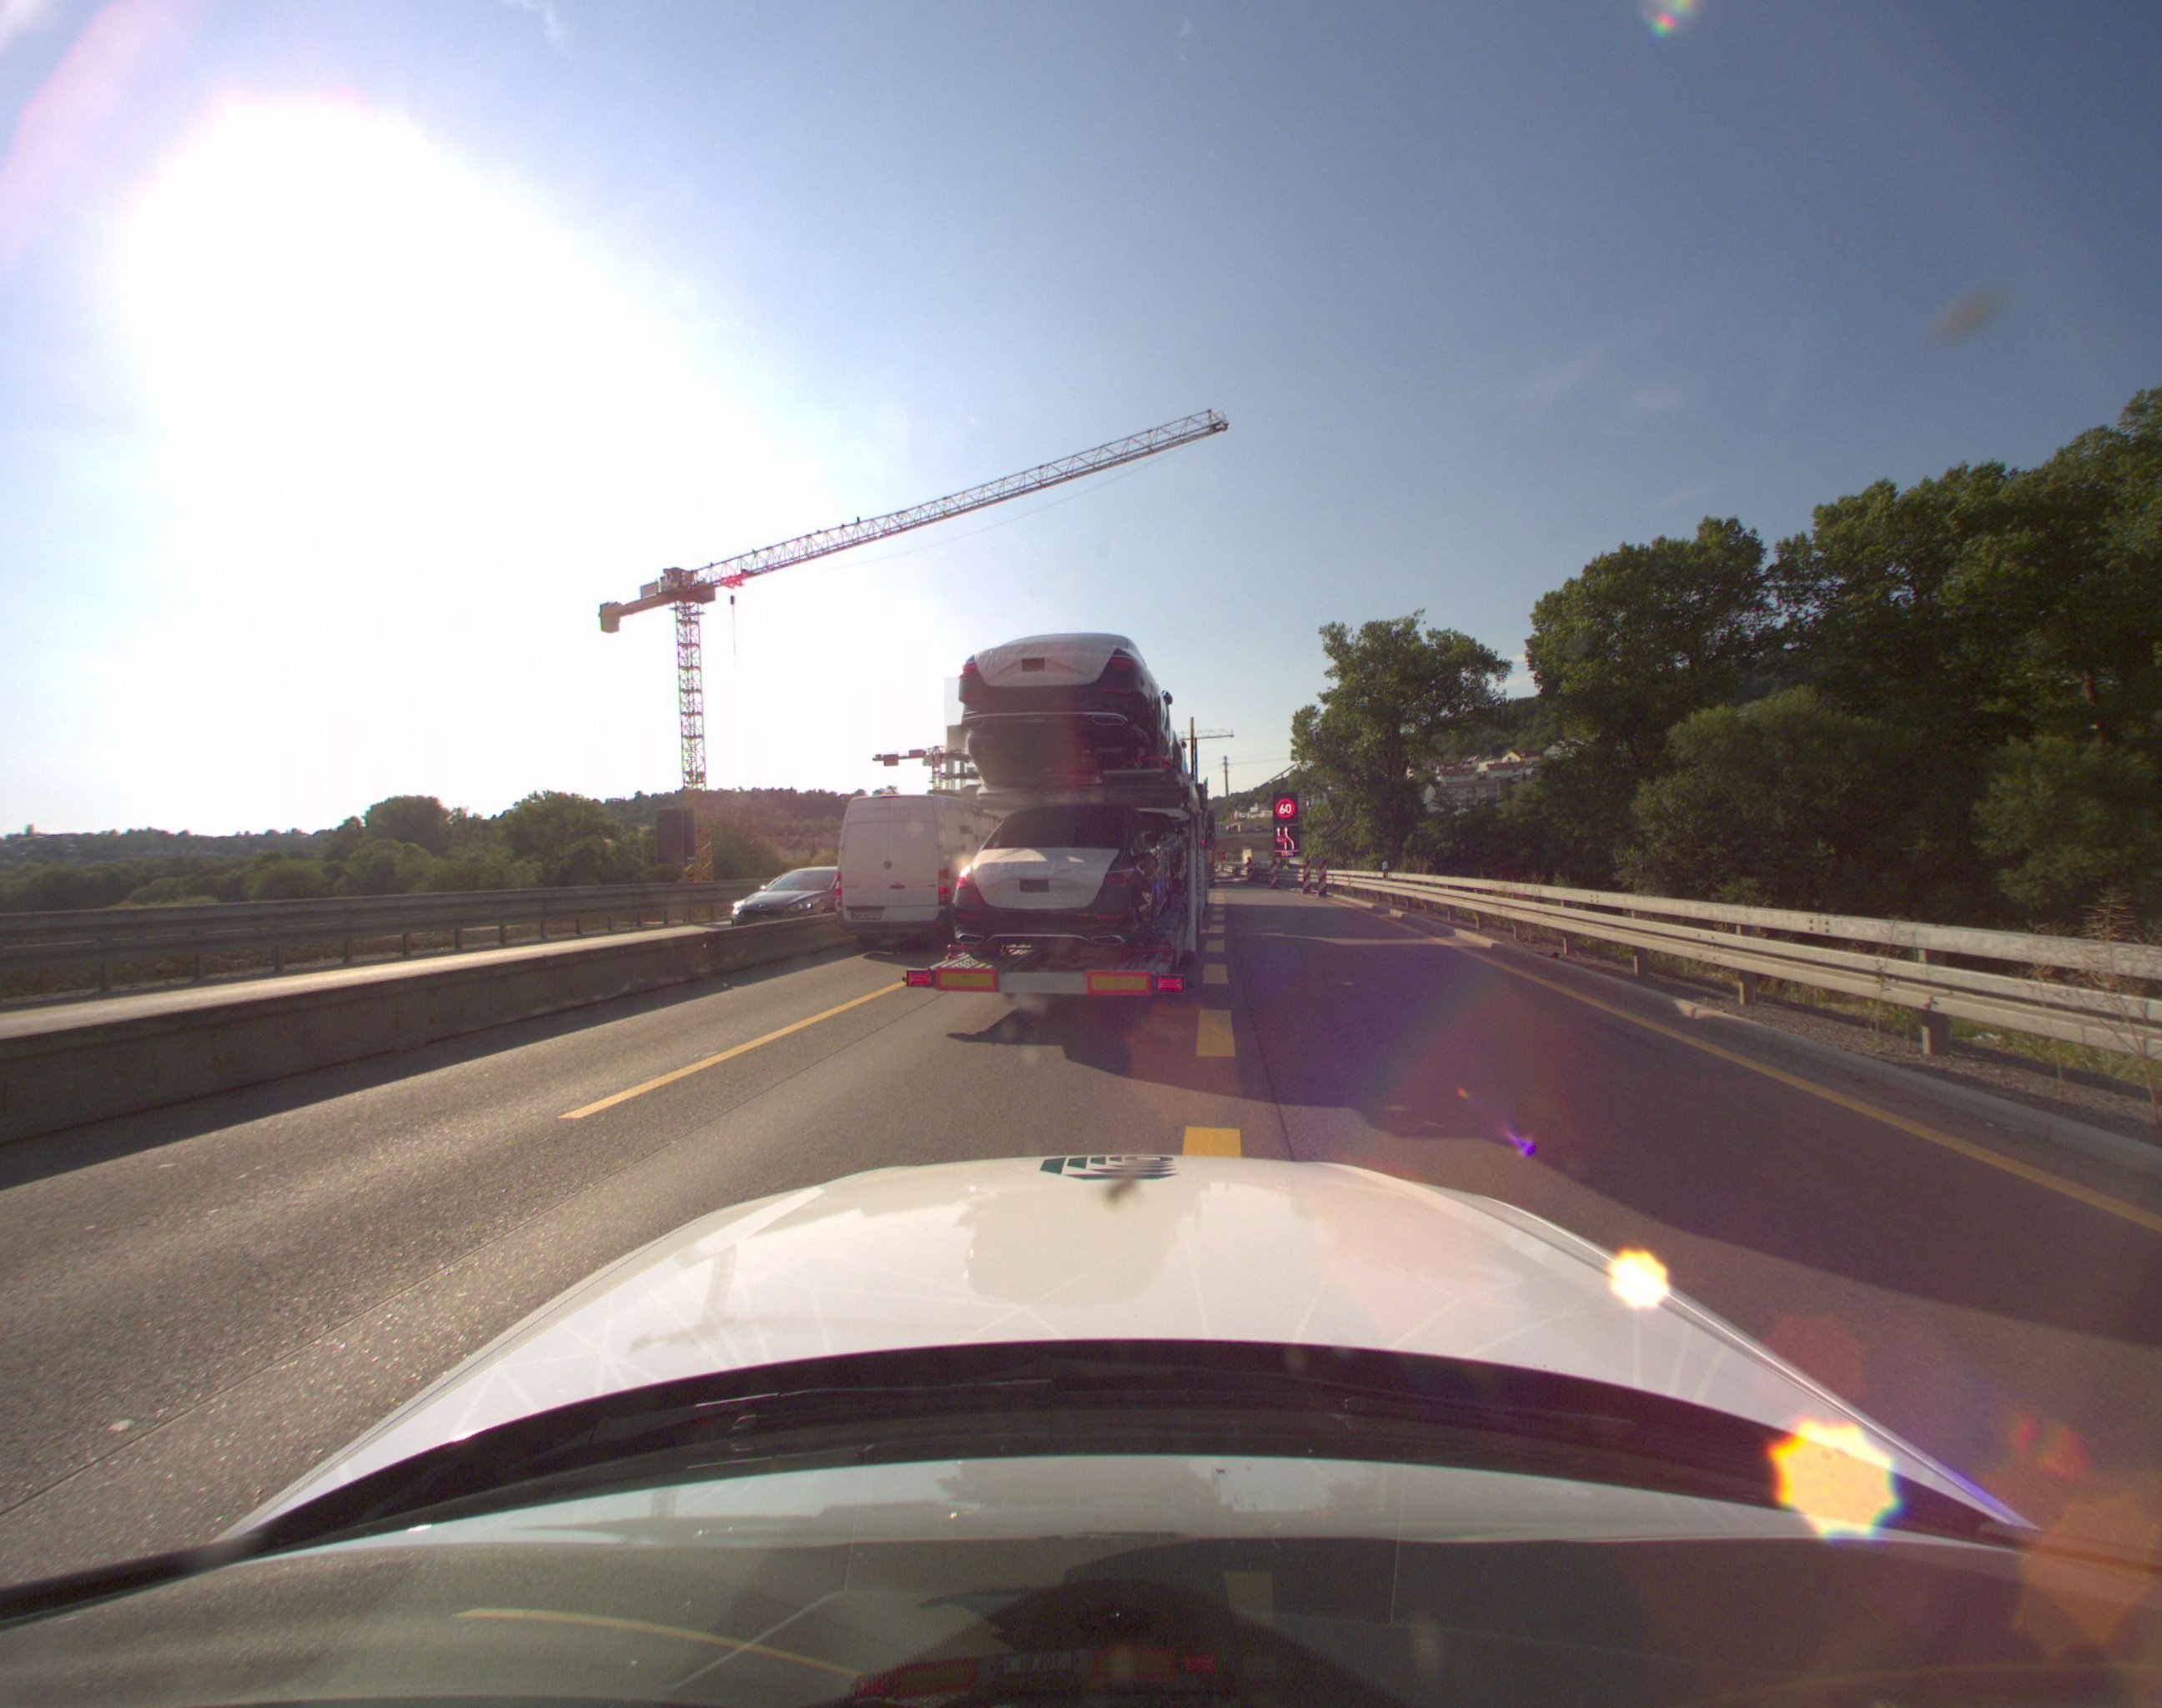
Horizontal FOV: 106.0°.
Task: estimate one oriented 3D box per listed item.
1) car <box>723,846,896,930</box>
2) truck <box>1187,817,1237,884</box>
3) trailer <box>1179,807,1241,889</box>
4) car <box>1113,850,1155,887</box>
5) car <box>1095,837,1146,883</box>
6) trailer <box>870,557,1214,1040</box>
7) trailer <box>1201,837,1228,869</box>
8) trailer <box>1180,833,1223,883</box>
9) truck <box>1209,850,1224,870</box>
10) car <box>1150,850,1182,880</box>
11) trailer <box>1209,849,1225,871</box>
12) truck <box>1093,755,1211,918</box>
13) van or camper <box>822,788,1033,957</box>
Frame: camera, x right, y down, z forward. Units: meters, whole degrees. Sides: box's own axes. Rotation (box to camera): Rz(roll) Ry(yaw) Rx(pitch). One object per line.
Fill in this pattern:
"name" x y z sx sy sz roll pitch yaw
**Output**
"car" -5.533 0.648 17.191 1.820 1.461 4.008 -3 -1 7
"truck" 8.585 -0.228 52.990 2.867 3.996 6.643 -2 0 10
"trailer" 7.580 -0.287 47.277 2.940 4.092 10.824 -3 -1 10
"car" 2.726 0.714 41.220 1.820 1.654 4.008 -3 -1 7
"car" 1.764 0.253 35.380 1.820 1.752 4.008 -3 -1 7
"trailer" 0.859 -0.412 14.754 2.840 3.996 15.786 -2 0 9
"trailer" 18.585 -0.147 113.530 3.365 3.996 14.782 -2 0 9
"trailer" 11.159 0.371 74.802 3.365 3.996 14.782 -2 0 9
"truck" 29.443 1.254 177.005 3.080 4.285 6.641 -2 0 9
"car" 5.381 0.660 50.954 1.820 1.654 4.008 -3 -1 7
"trailer" 28.311 1.250 169.783 3.085 4.314 14.288 -2 0 9
"truck" 2.297 -0.413 23.841 2.832 3.996 6.641 -2 0 9
"van or camper" -2.619 0.307 15.739 1.981 2.620 5.920 -2 0 10
